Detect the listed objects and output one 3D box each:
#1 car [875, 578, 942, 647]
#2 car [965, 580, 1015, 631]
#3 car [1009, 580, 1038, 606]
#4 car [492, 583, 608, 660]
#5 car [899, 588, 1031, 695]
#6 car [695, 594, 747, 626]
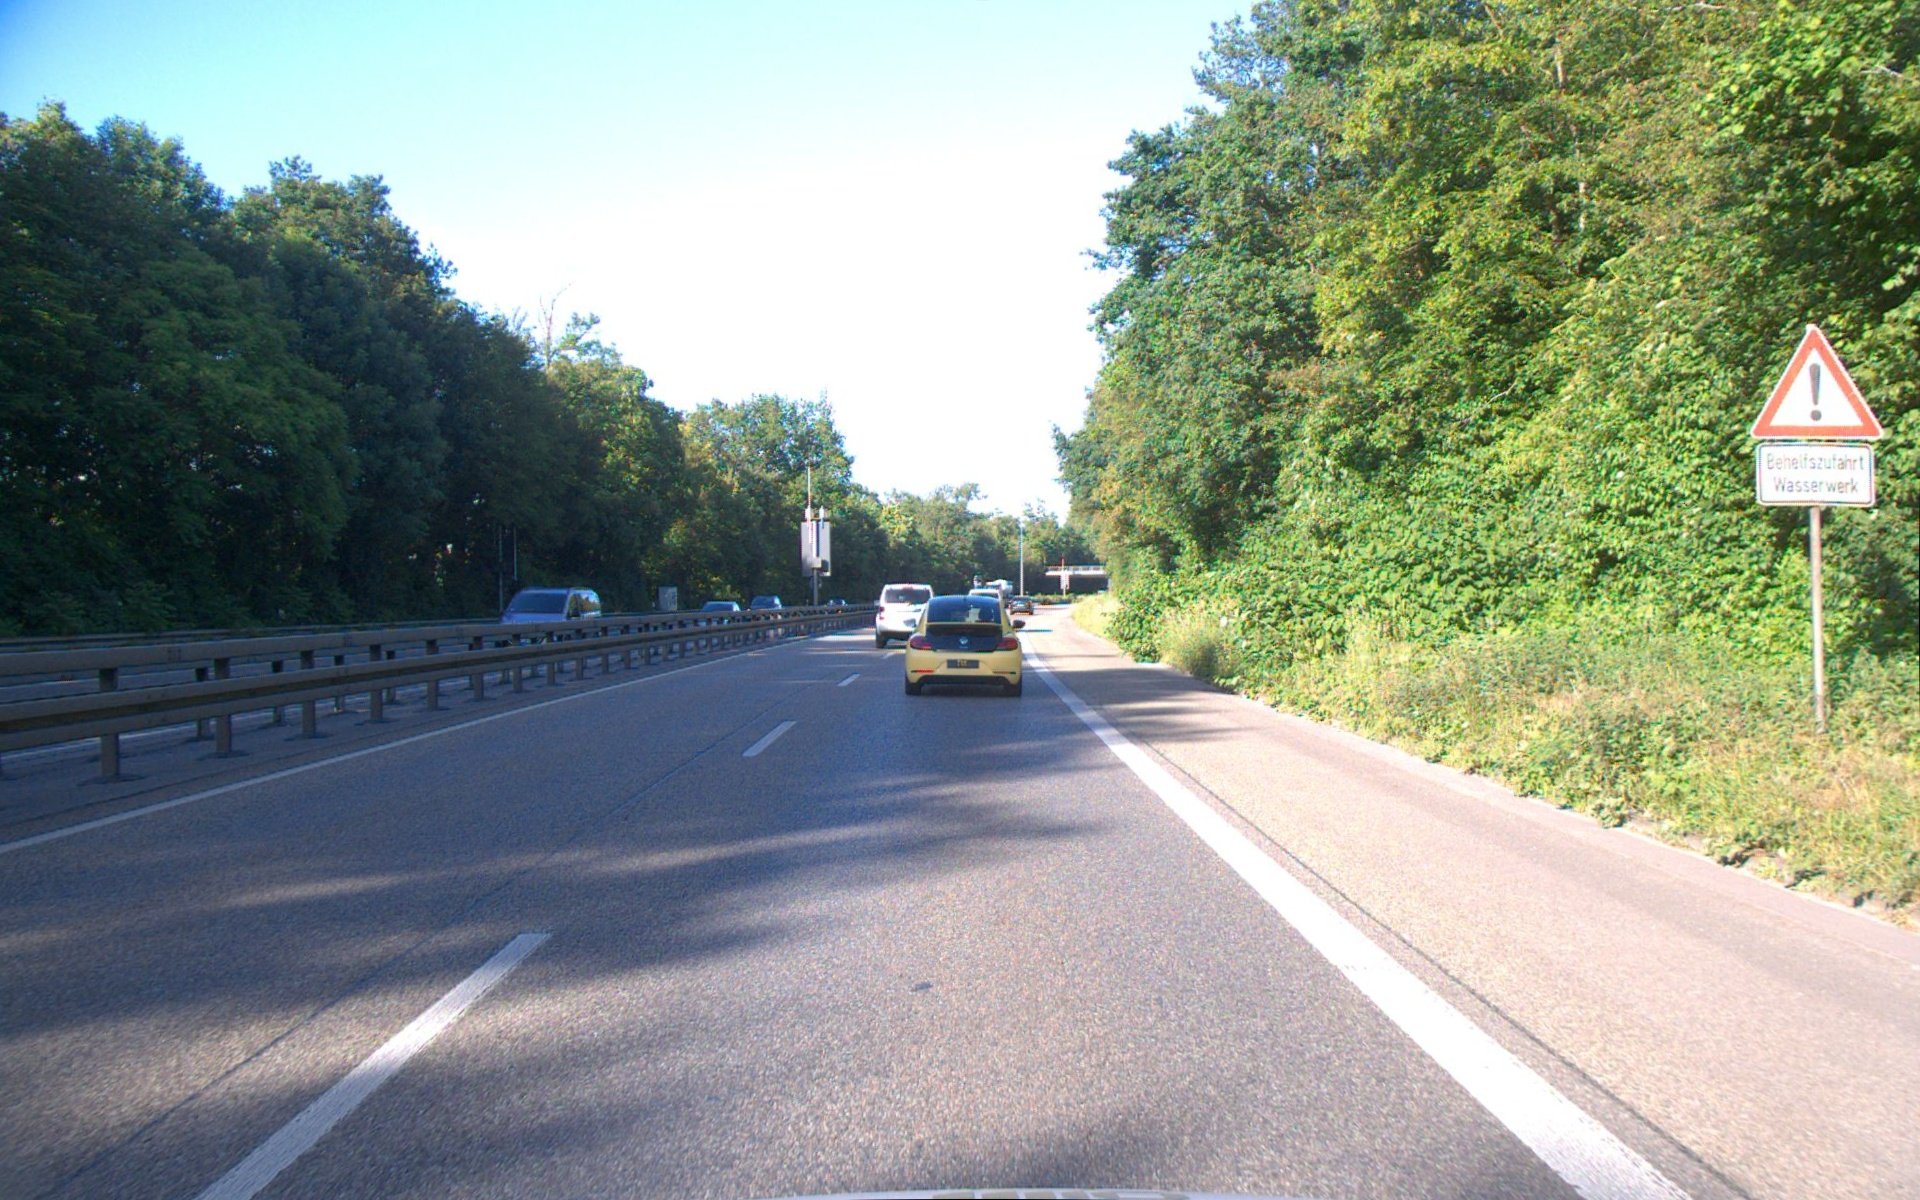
[{"bbox_3d":[-1.435,0.322,47.124,1.705,1.862,3.423,1,0,1],"label":"car"},{"bbox_3d":[1.246,0.220,71.223,1.953,2.048,4.000,-2,0,-1],"label":"car"},{"bbox_3d":[5.059,-0.572,131.845,2.216,1.908,5.078,-2,0,2],"label":"car"},{"bbox_3d":[-11.284,0.551,45.915,1.849,1.936,5.414,-2,0,-1],"label":"car"},{"bbox_3d":[0.032,0.583,25.596,1.900,1.534,3.421,0,0,-1],"label":"car"},{"bbox_3d":[-10.685,0.423,74.085,1.564,1.337,3.911,-2,0,2],"label":"car"}]
